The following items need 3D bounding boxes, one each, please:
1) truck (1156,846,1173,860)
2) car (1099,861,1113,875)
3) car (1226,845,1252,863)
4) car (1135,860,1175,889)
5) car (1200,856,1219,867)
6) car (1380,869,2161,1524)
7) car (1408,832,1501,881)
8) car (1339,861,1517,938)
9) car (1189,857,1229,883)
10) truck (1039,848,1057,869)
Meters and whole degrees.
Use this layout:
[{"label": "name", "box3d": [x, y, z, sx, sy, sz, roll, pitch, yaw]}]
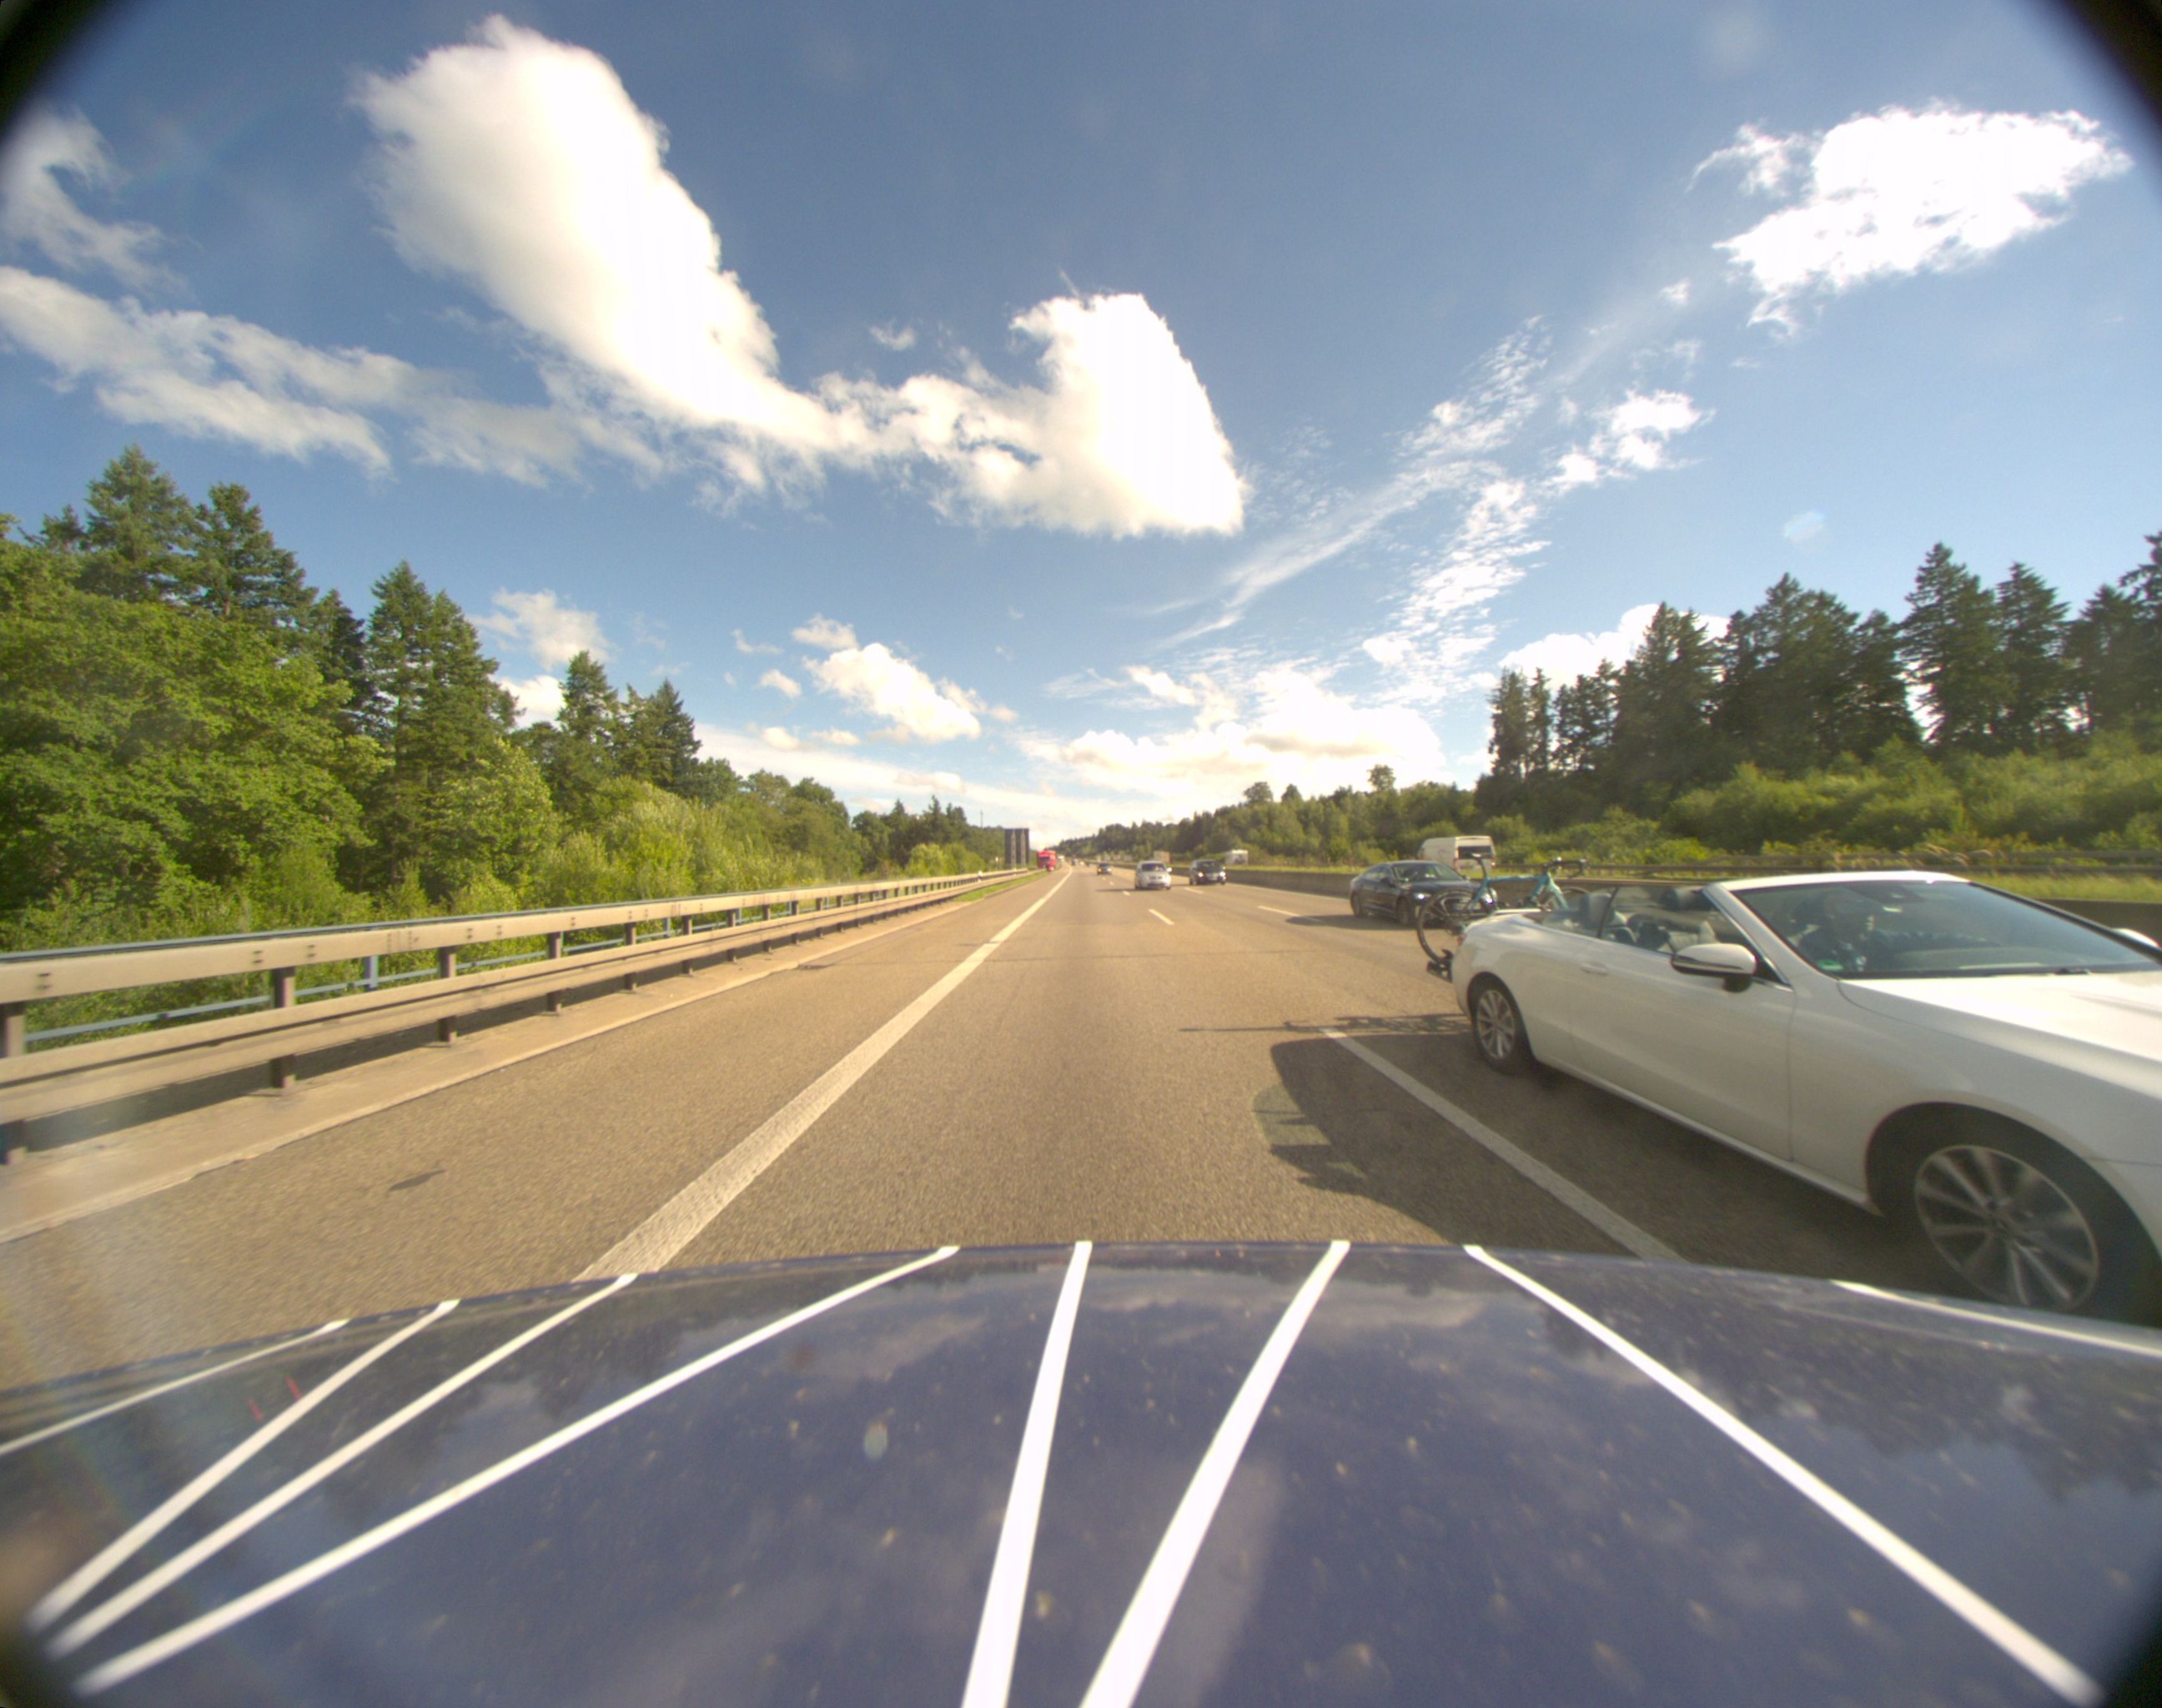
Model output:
[{"label": "truck", "box3d": [23.296, -0.293, 212.637, 3.323, 3.880, 11.741, -2, 0, 1]}, {"label": "car", "box3d": [3.088, 1.768, 94.554, 1.742, 1.608, 4.083, -2, 0, 1]}, {"label": "car", "box3d": [23.610, 0.019, 113.892, 2.550, 2.461, 5.845, -4, 0, 1]}, {"label": "car", "box3d": [4.080, 1.092, 42.313, 1.840, 1.508, 4.333, -2, 0, 1]}, {"label": "car", "box3d": [17.287, 0.995, 102.537, 1.824, 1.411, 4.000, -2, 0, 1]}, {"label": "car", "box3d": [3.737, 0.897, 4.083, 2.065, 1.490, 5.736, -2, 0, 1]}, {"label": "car", "box3d": [19.372, 0.115, 39.725, 2.102, 2.262, 5.446, -4, 0, 1]}, {"label": "car", "box3d": [7.567, 0.911, 17.175, 1.860, 1.422, 4.841, -2, 0, 1]}, {"label": "car", "box3d": [7.983, 0.954, 47.696, 1.840, 1.508, 4.333, -2, 0, 1]}, {"label": "truck", "box3d": [-6.365, 0.817, 146.493, 2.880, 3.870, 8.959, -2, 0, 1]}]
